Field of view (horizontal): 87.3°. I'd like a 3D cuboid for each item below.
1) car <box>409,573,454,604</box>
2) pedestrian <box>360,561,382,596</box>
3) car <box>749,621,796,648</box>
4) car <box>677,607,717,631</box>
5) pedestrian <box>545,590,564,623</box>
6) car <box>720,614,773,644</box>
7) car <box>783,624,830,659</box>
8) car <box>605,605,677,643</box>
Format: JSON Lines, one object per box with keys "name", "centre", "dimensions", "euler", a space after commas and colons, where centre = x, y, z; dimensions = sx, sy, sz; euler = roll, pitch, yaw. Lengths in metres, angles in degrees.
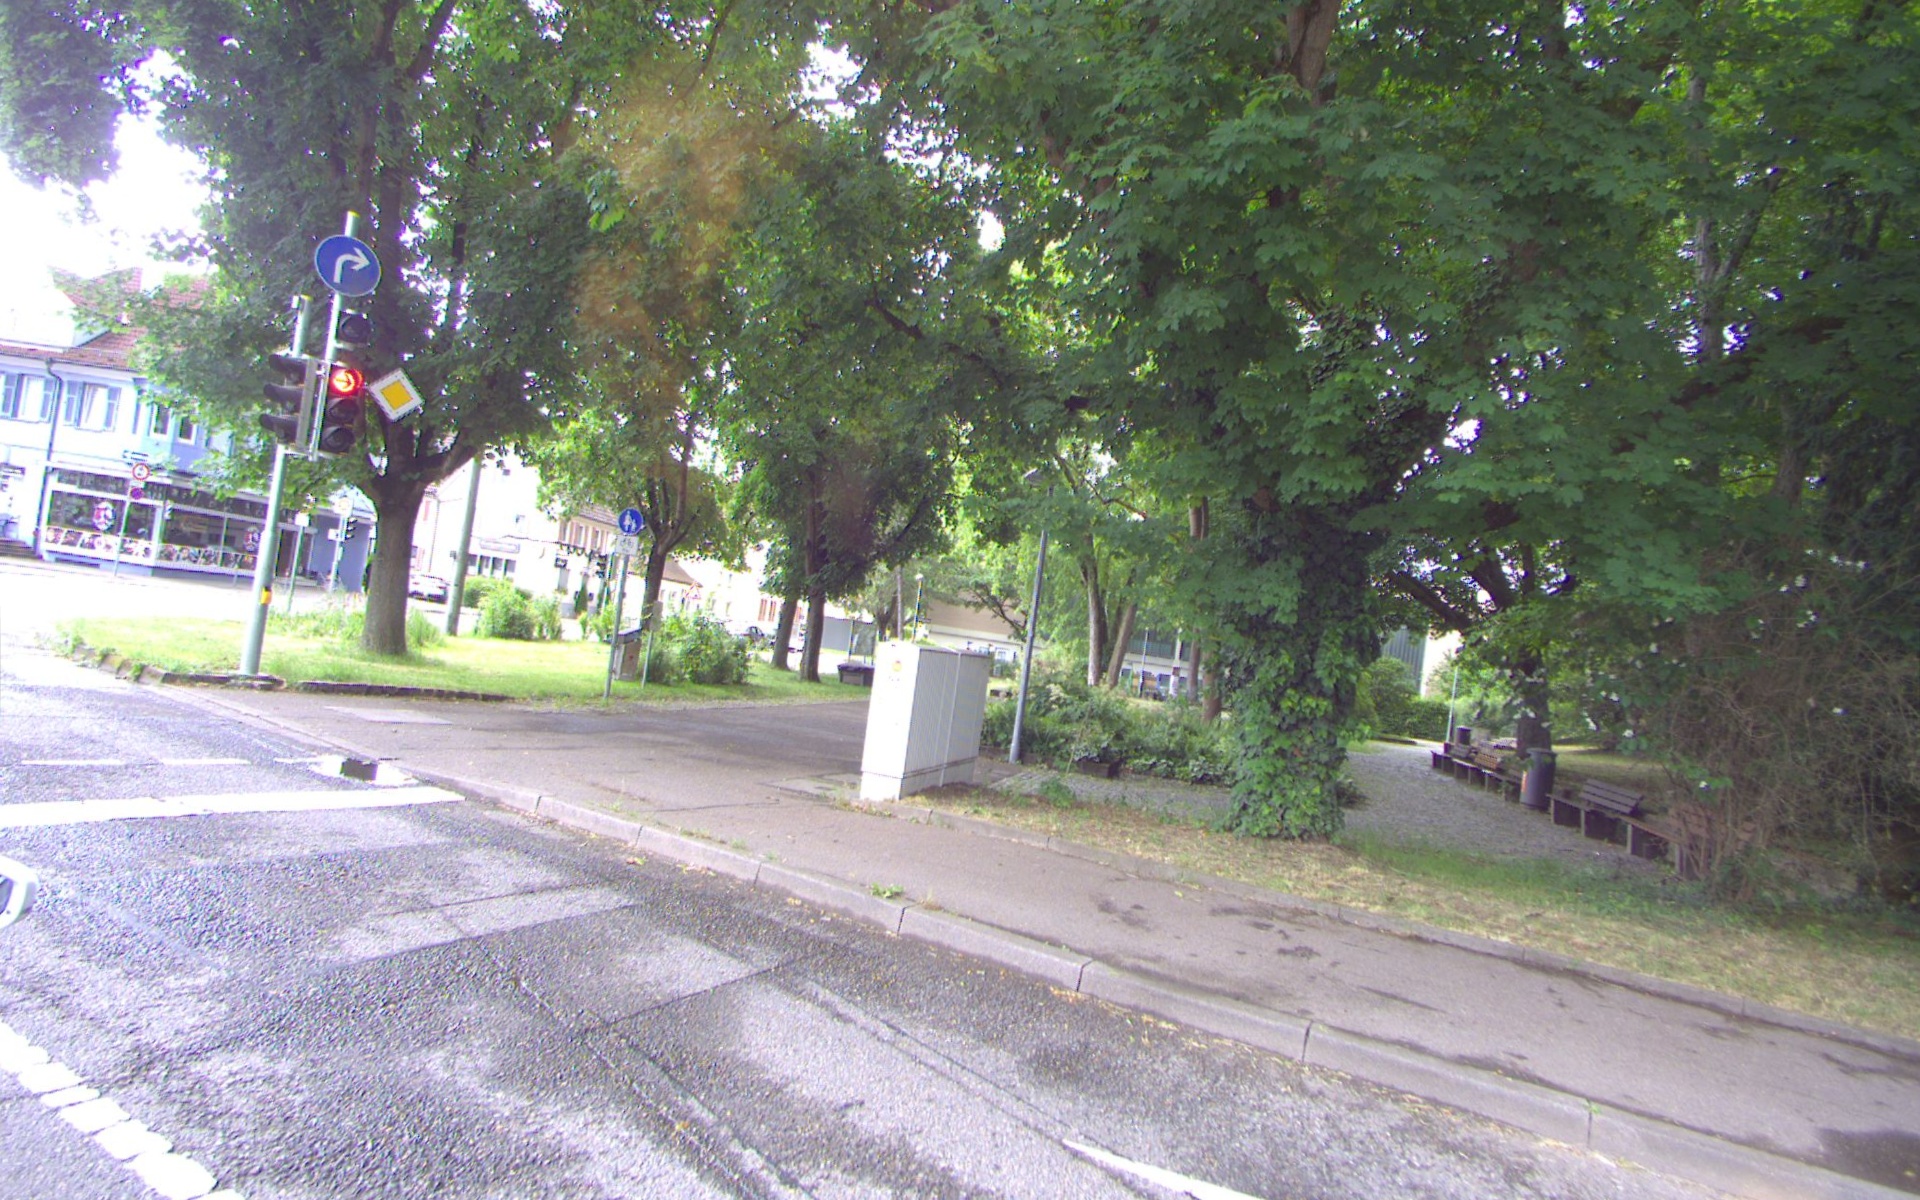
{"name": "car", "centre": [-27.870, -0.599, 53.146], "dimensions": [1.479, 1.384, 3.166], "euler": [8, -2, -19]}
{"name": "pedestrian", "centre": [-27.253, -1.002, 46.543], "dimensions": [0.576, 1.535, 0.460], "euler": [7, -1, 11]}
{"name": "car", "centre": [-11.167, 2.074, 60.109], "dimensions": [1.530, 1.336, 3.514], "euler": [7, -2, 8]}
{"name": "car", "centre": [-19.372, 1.447, 74.251], "dimensions": [1.528, 1.436, 4.005], "euler": [7, -2, 4]}
{"name": "pedestrian", "centre": [-22.073, 0.353, 54.769], "dimensions": [0.600, 1.668, 0.610], "euler": [7, -1, 4]}
{"name": "car", "centre": [-11.568, 1.600, 54.824], "dimensions": [1.530, 1.336, 3.514], "euler": [7, -2, 9]}
{"name": "car", "centre": [-10.056, 2.762, 66.178], "dimensions": [1.750, 2.037, 4.005], "euler": [7, -2, 7]}
{"name": "car", "centre": [-14.009, 1.093, 44.359], "dimensions": [1.530, 1.336, 3.514], "euler": [7, -2, 9]}
